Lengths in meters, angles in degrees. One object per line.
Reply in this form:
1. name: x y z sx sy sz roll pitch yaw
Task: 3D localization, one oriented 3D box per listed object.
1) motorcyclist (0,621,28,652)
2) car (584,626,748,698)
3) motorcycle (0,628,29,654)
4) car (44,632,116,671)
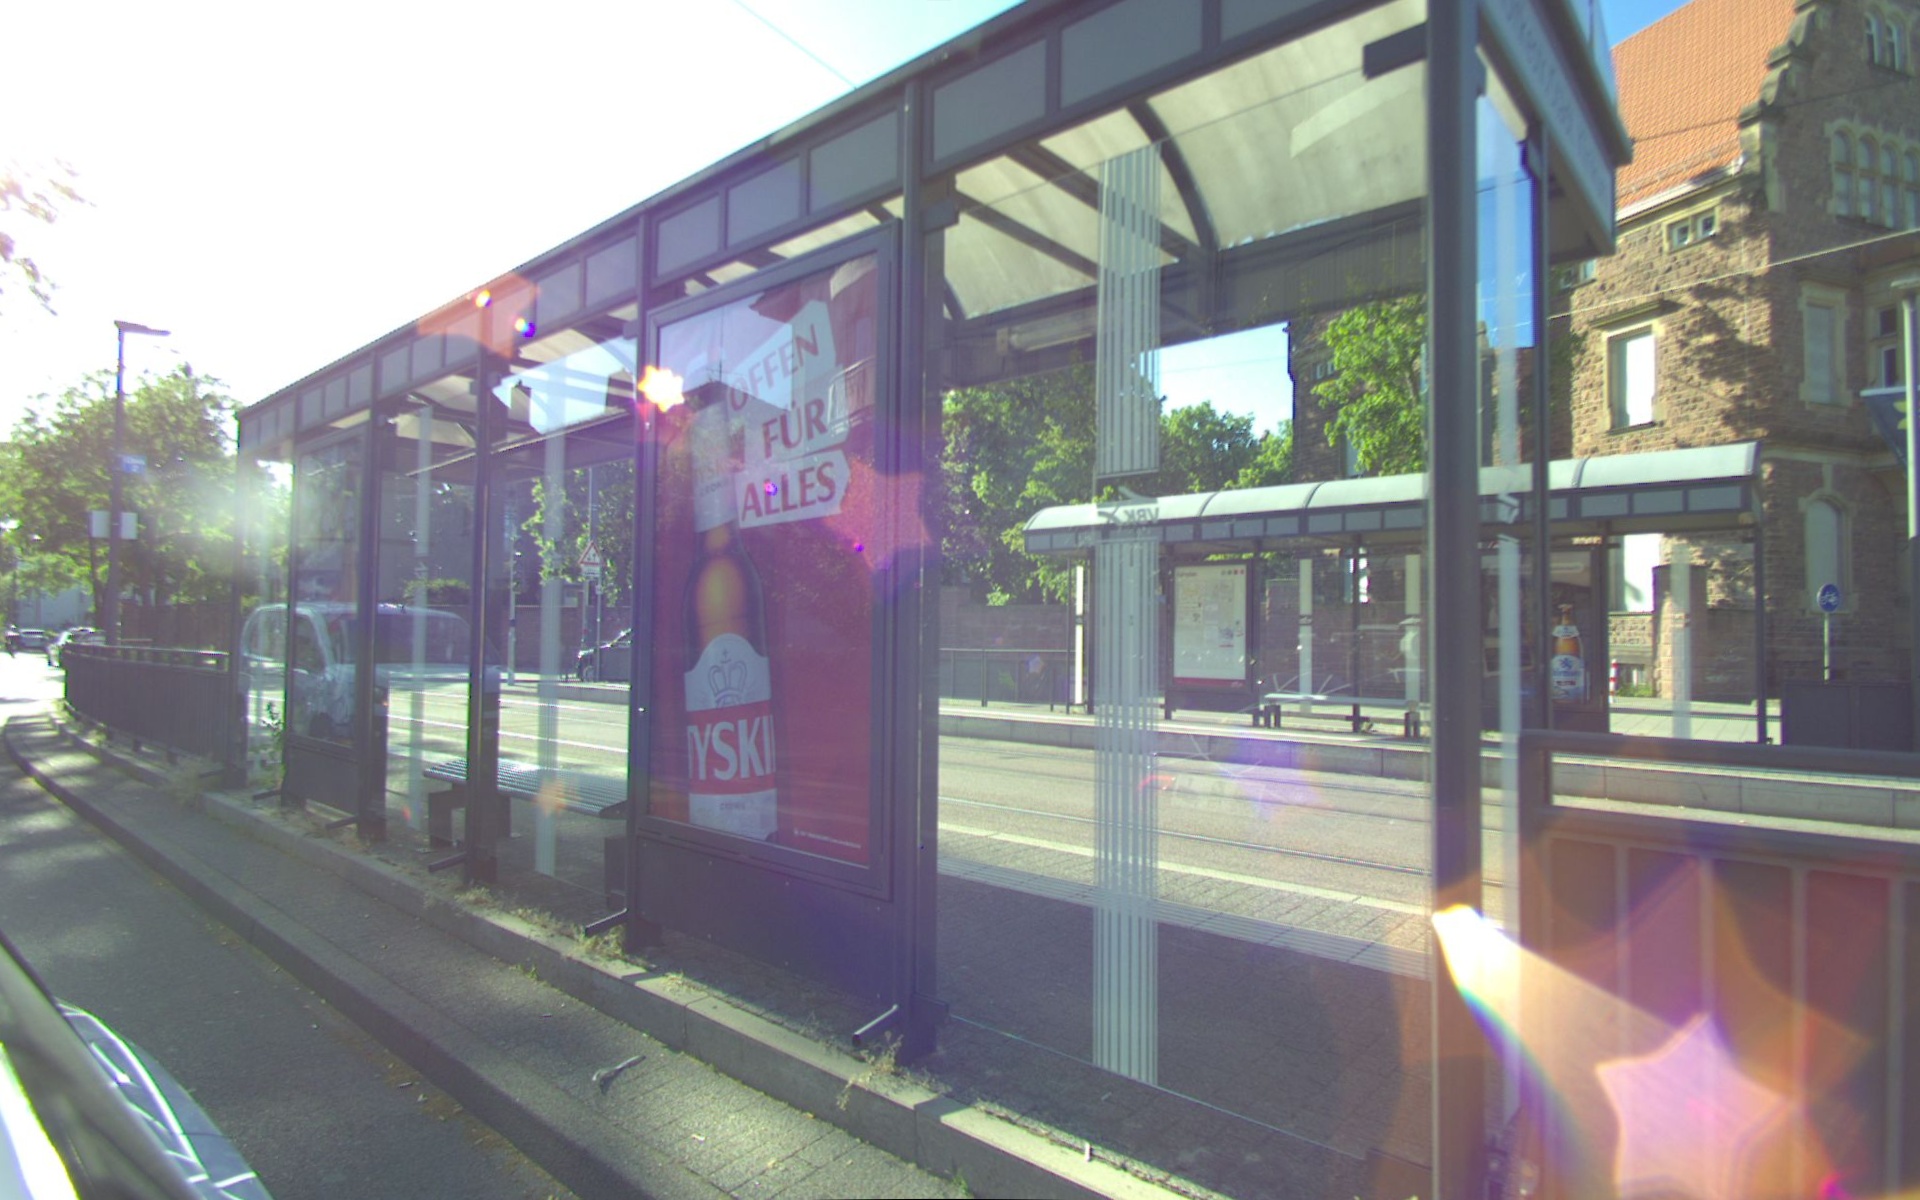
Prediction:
1. motorcyclist: -48.239 1.851 51.484 1.056 1.537 1.112 -1 -2 44
2. car: -7.584 1.537 25.921 4.353 1.690 1.888 -2 -3 39
3. motorcycle: -48.183 2.072 51.418 2.574 1.253 1.117 -1 -2 45
4. car: -36.339 2.129 41.764 3.982 1.414 1.835 -6 -6 43
